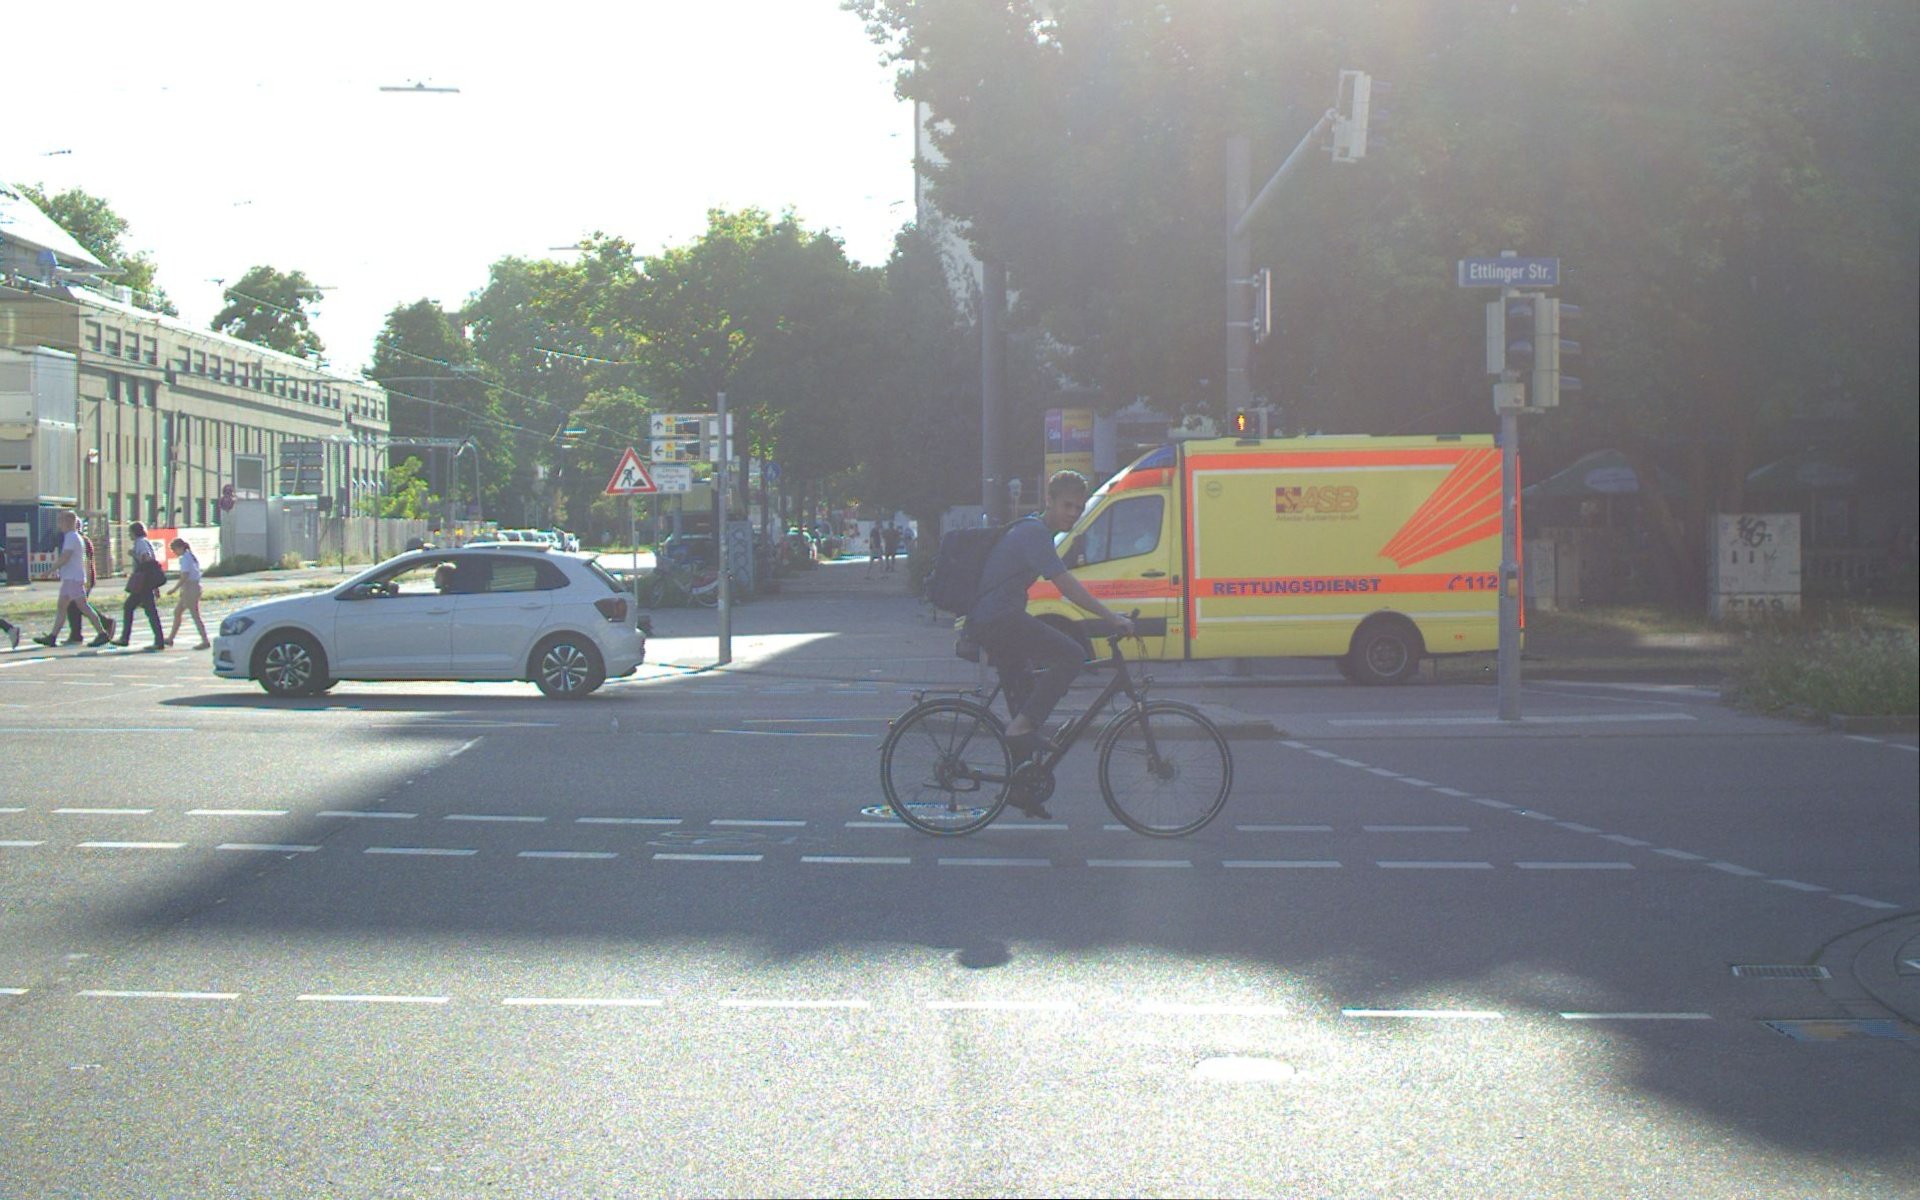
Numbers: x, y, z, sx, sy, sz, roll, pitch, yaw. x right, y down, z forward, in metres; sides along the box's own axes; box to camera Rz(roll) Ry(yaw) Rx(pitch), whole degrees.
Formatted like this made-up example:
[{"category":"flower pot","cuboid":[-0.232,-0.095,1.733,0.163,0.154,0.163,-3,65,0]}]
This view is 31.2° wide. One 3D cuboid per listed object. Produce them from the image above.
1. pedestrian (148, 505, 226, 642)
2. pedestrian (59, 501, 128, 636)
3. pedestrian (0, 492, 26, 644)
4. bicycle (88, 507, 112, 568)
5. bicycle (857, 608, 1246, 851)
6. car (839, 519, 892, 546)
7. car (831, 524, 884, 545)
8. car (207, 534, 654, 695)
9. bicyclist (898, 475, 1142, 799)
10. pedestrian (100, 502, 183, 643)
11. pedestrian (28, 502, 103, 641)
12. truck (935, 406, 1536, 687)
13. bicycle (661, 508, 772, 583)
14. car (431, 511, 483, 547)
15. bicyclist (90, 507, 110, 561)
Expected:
[{"category":"pedestrian","cuboid":[-10.209,-0.351,45.435,0.870,1.797,0.532,0,1,5]},{"category":"pedestrian","cuboid":[-11.620,-0.418,46.114,0.739,1.797,0.532,0,1,5]},{"category":"pedestrian","cuboid":[-12.404,-0.409,43.761,0.802,1.911,0.637,0,1,5]},{"category":"bicycle","cuboid":[-32.515,-2.367,130.042,0.571,2.288,1.422,0,1,-2]},{"category":"bicycle","cuboid":[0.449,0.651,17.514,1.872,1.154,0.767,1,2,-6]},{"category":"car","cuboid":[-5.858,-4.193,213.333,3.214,1.583,1.446,1,0,-4]},{"category":"car","cuboid":[-6.299,-4.036,211.174,3.217,1.259,1.373,1,0,0]},{"category":"car","cuboid":[-4.972,0.150,32.677,4.042,1.429,1.632,0,-3,-2]},{"category":"bicyclist","cuboid":[0.293,0.176,17.471,1.123,1.589,0.767,1,2,-6]},{"category":"pedestrian","cuboid":[-10.569,-0.359,44.415,0.870,1.797,0.664,0,1,5]},{"category":"pedestrian","cuboid":[-11.750,-0.378,45.194,0.739,1.797,0.716,0,1,5]},{"category":"truck","cuboid":[2.985,-0.596,38.390,6.468,3.005,2.725,0,1,1]},{"category":"bicycle","cuboid":[-5.765,-1.289,81.472,2.547,1.737,1.037,1,0,0]},{"category":"car","cuboid":[-22.883,-3.227,156.535,1.894,1.601,4.501,-1,1,-2]},{"category":"bicyclist","cuboid":[-32.517,-2.504,129.984,0.571,2.017,0.762,0,1,-2]}]
